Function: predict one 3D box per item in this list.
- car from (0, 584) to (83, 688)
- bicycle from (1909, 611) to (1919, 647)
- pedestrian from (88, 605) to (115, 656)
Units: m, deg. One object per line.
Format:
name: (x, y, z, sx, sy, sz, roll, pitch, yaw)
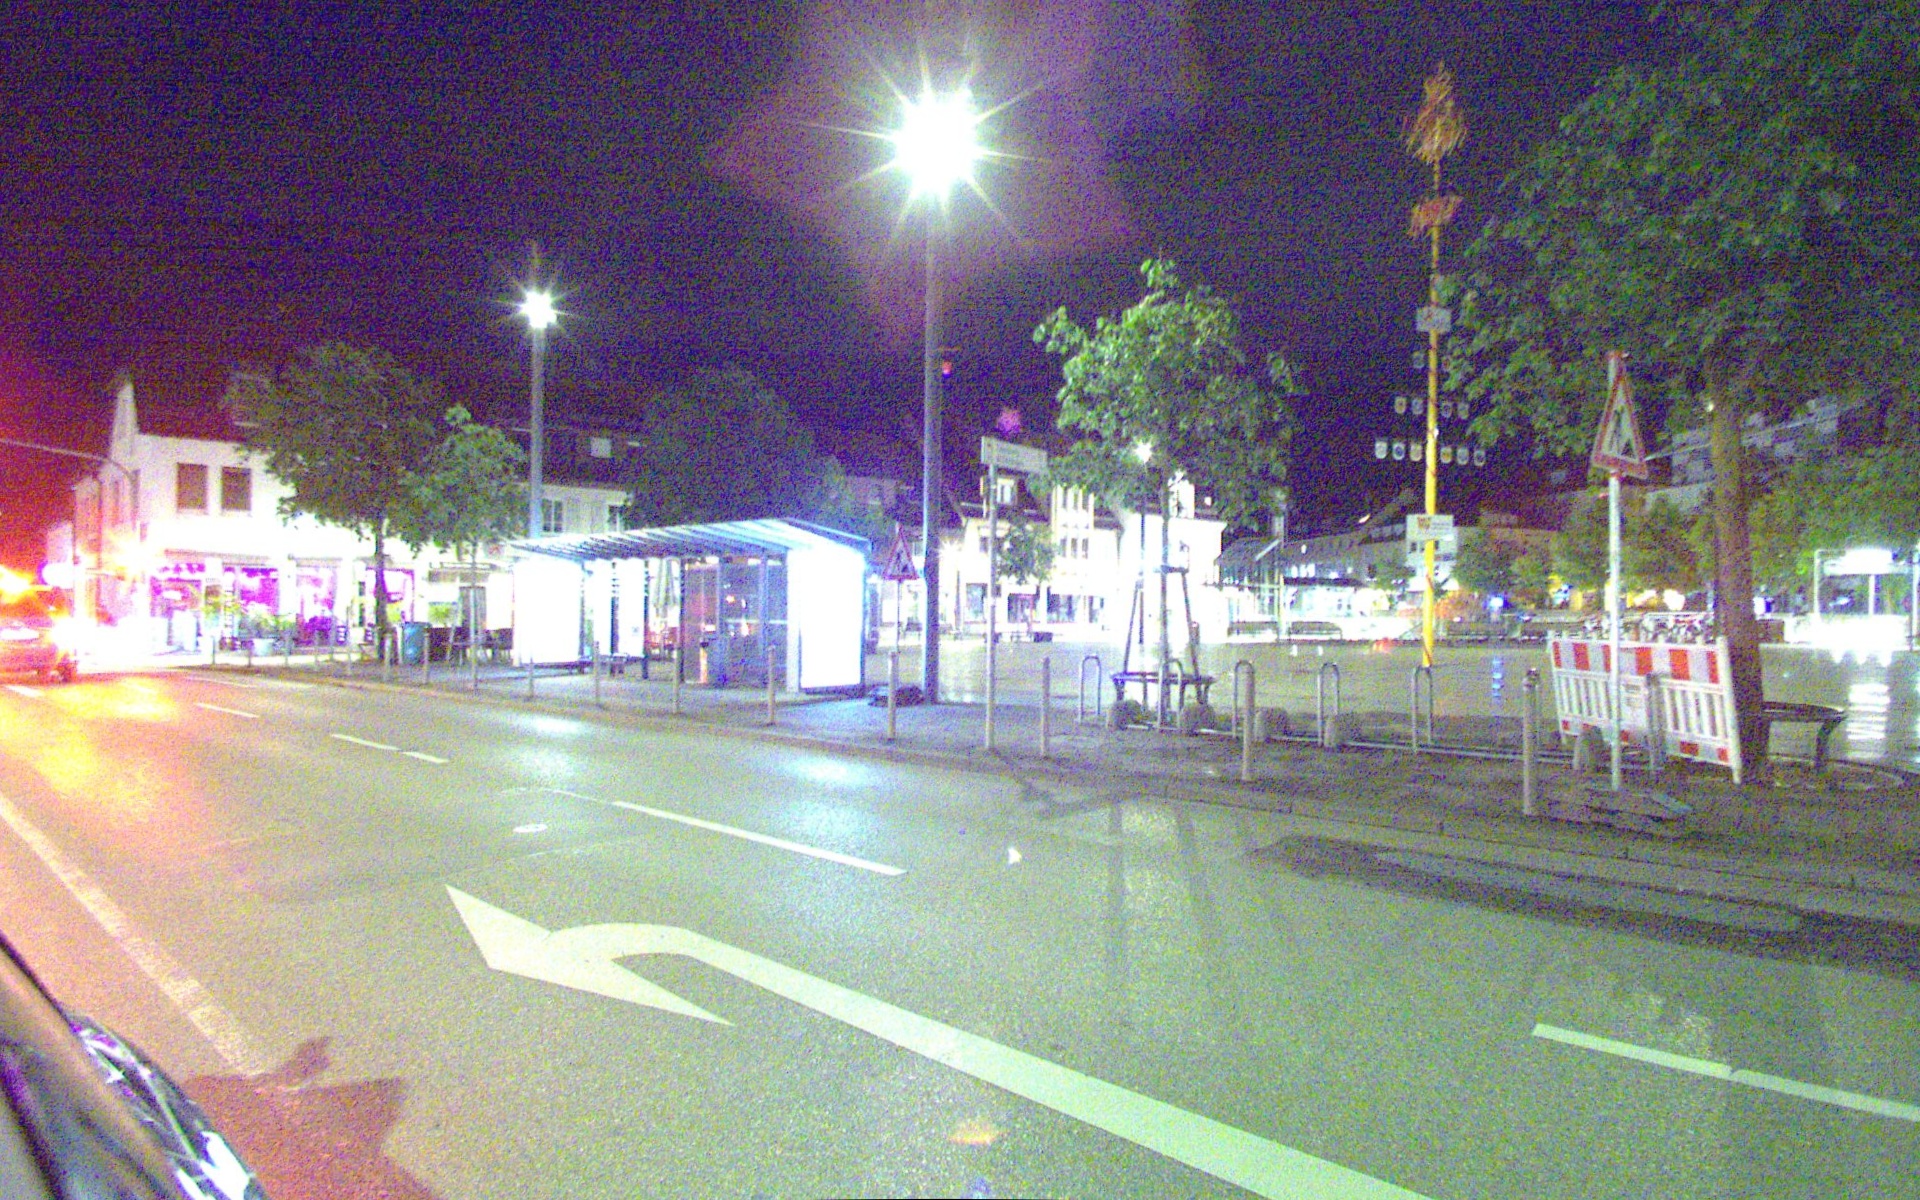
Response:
car: (-19.076, 0.674, 20.011, 4.909, 1.886, 1.946, -1, -1, 41)
bicycle: (26.413, 0.764, 26.974, 1.525, 0.965, 0.476, -1, 0, 25)
pedestrian: (-28.064, 1.001, 33.096, 0.637, 1.640, 0.584, -1, 0, -39)
